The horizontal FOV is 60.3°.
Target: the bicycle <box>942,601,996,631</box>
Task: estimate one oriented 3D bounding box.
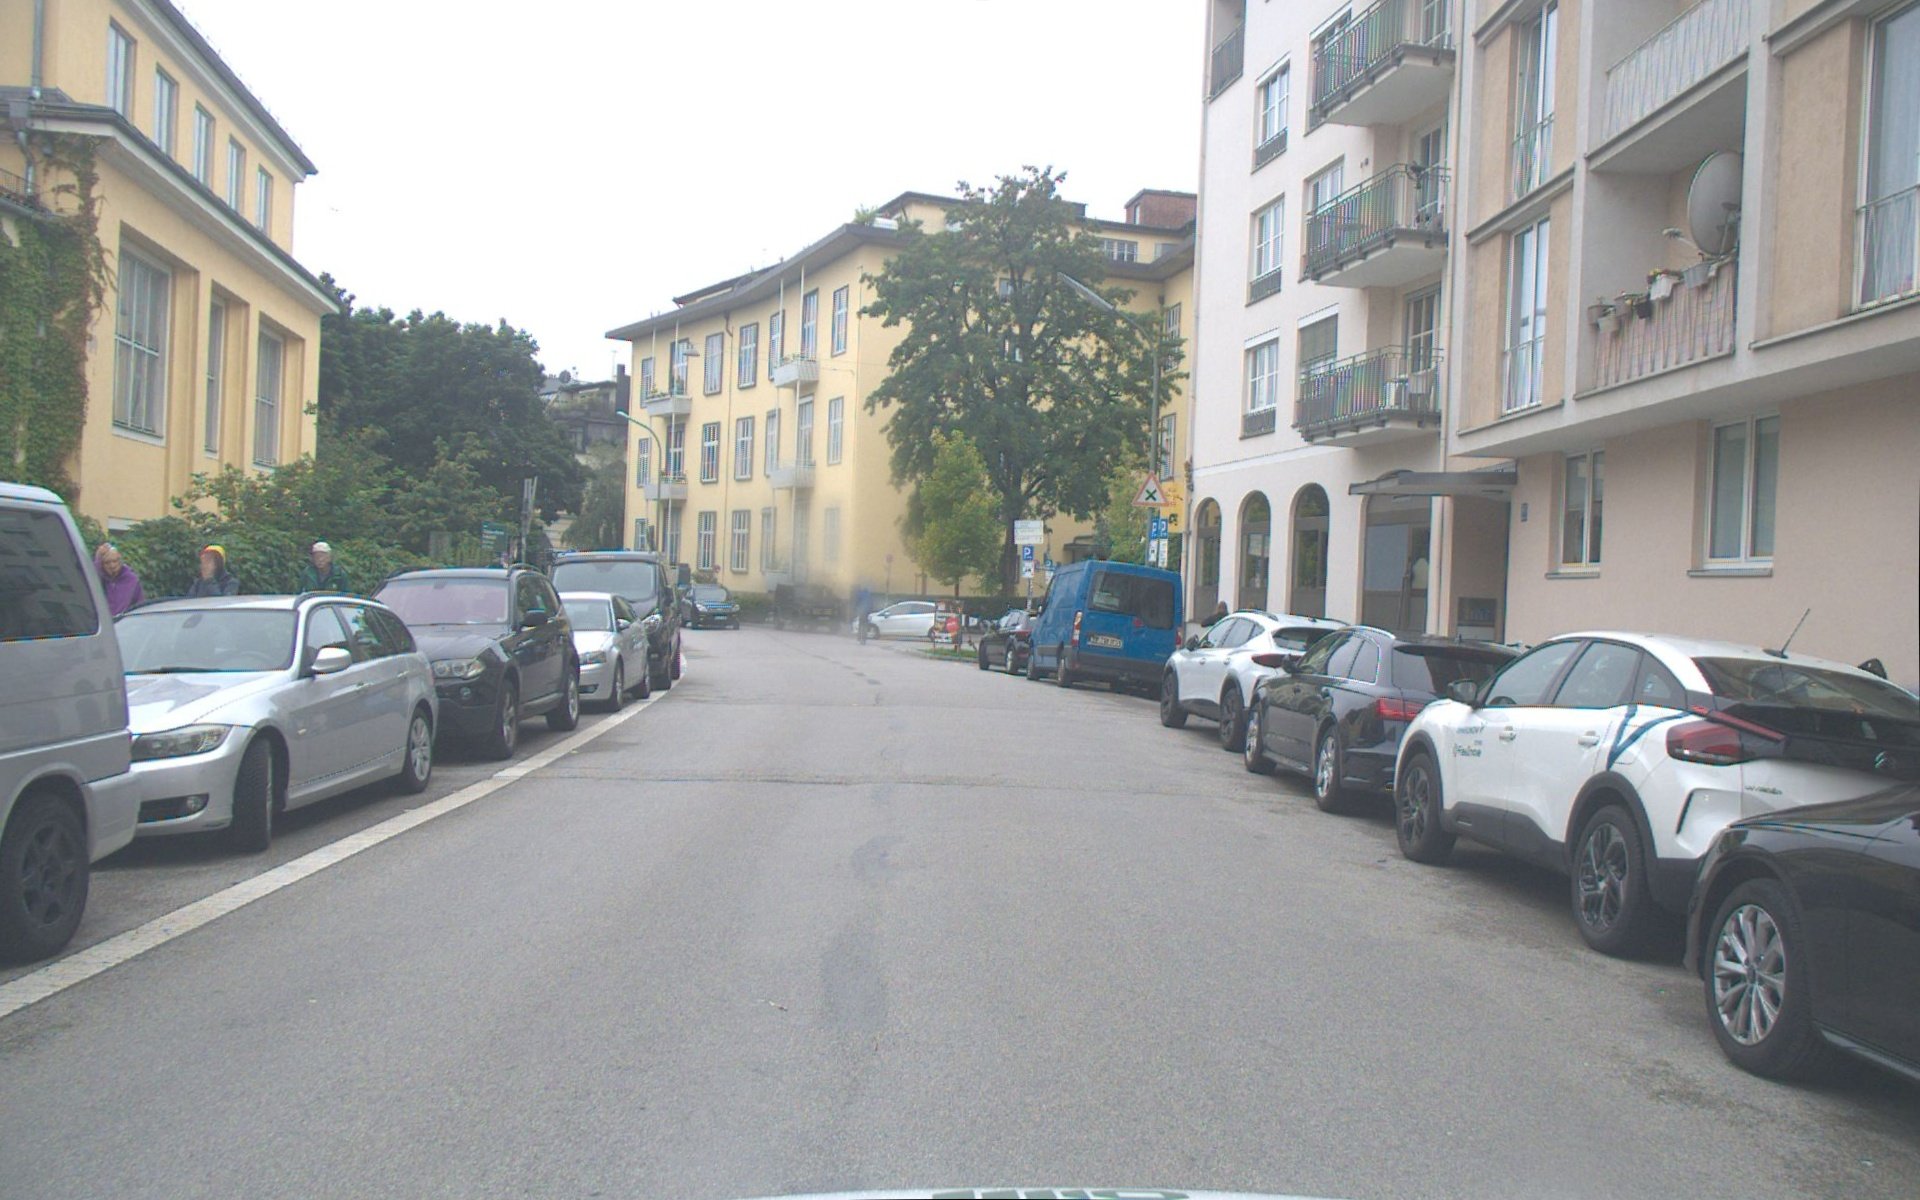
[{"bbox_3d":[0.387,0.669,67.693,2.122,1.135,0.641,2,0,6],"label":"bicycle"}]

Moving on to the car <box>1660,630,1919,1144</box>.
[{"bbox_3d":[3.674,0.922,4.140,1.790,1.405,4.490,4,1,-1],"label":"car"}]

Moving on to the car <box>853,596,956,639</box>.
[{"bbox_3d":[-2.031,0.649,61.460,3.637,1.431,1.754,2,0,3],"label":"car"}]

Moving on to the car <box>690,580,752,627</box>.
[{"bbox_3d":[-9.621,0.110,66.311,1.960,1.749,4.598,2,1,-14],"label":"car"}]

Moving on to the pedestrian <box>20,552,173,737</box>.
[{"bbox_3d":[-7.464,0.369,14.337,0.826,1.520,0.872,2,0,-1],"label":"pedestrian"}]

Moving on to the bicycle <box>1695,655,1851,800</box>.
[{"bbox_3d":[7.310,1.129,14.876,1.316,1.223,0.392,-1,-1,-16],"label":"bicycle"}]

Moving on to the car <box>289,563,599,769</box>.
[{"bbox_3d":[-4.668,0.503,15.661,1.668,1.634,4.489,-1,1,-3],"label":"car"}]

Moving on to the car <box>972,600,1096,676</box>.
[{"bbox_3d":[1.603,0.822,37.168,1.685,1.418,3.987,6,-1,-13],"label":"car"}]

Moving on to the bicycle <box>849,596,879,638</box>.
[{"bbox_3d":[-3.140,0.547,54.176,0.902,1.274,2.321,2,1,-2],"label":"bicycle"}]

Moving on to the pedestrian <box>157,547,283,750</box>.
[{"bbox_3d":[-6.375,0.403,14.290,0.669,1.681,0.872,2,0,-3],"label":"pedestrian"}]

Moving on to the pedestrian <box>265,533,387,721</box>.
[{"bbox_3d":[-6.271,0.257,16.390,0.826,1.785,0.872,2,0,-1],"label":"pedestrian"}]

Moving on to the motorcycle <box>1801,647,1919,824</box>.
[{"bbox_3d":[7.633,1.065,13.289,0.623,1.293,2.040,1,0,-3],"label":"motorcycle"}]

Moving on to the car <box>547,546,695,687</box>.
[{"bbox_3d":[-5.245,0.196,26.148,1.889,2.013,4.616,-1,1,-7],"label":"car"}]

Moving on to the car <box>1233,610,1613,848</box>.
[{"bbox_3d":[3.718,0.942,14.239,1.737,1.453,4.692,7,0,-1],"label":"car"}]

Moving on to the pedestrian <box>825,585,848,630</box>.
[{"bbox_3d":[-5.074,0.312,67.822,0.832,1.788,0.952,1,1,-8],"label":"pedestrian"}]

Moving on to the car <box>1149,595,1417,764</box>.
[{"bbox_3d":[3.689,0.844,19.724,1.743,1.548,4.297,6,1,-7],"label":"car"}]

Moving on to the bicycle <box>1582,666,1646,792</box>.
[{"bbox_3d":[6.988,1.356,17.717,0.388,1.223,1.568,-1,0,13],"label":"bicycle"}]

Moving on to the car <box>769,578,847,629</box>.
[{"bbox_3d":[-6.269,0.124,67.703,1.848,1.920,4.586,2,1,-23],"label":"car"}]

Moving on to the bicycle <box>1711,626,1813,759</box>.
[{"bbox_3d":[7.803,0.874,16.134,0.384,1.223,1.342,-1,0,3],"label":"bicycle"}]

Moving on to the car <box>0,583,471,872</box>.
[{"bbox_3d":[-4.659,0.641,10.552,1.767,1.401,4.490,-3,0,-1],"label":"car"}]

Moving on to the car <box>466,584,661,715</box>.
[{"bbox_3d":[-4.886,0.545,20.895,1.673,1.389,3.999,-2,1,-4],"label":"car"}]

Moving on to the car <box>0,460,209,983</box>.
[{"bbox_3d":[-4.283,0.470,4.968,1.855,1.829,4.879,-2,1,-1],"label":"car"}]

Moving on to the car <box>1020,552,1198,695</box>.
[{"bbox_3d":[2.694,0.465,31.215,2.070,2.251,5.019,7,-2,-8],"label":"car"}]

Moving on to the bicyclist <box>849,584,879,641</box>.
[{"bbox_3d":[-3.145,0.405,54.175,0.896,1.795,1.215,2,0,-2],"label":"bicyclist"}]

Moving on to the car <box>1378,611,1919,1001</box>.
[{"bbox_3d":[3.827,0.929,9.105,1.669,1.493,4.117,6,0,-3],"label":"car"}]

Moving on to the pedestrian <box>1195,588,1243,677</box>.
[{"bbox_3d":[4.954,0.616,31.671,0.666,1.657,0.828,1,-1,-9],"label":"pedestrian"}]

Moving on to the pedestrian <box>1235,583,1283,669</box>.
[{"bbox_3d":[5.727,0.490,31.684,0.698,1.633,0.699,1,0,-8],"label":"pedestrian"}]
